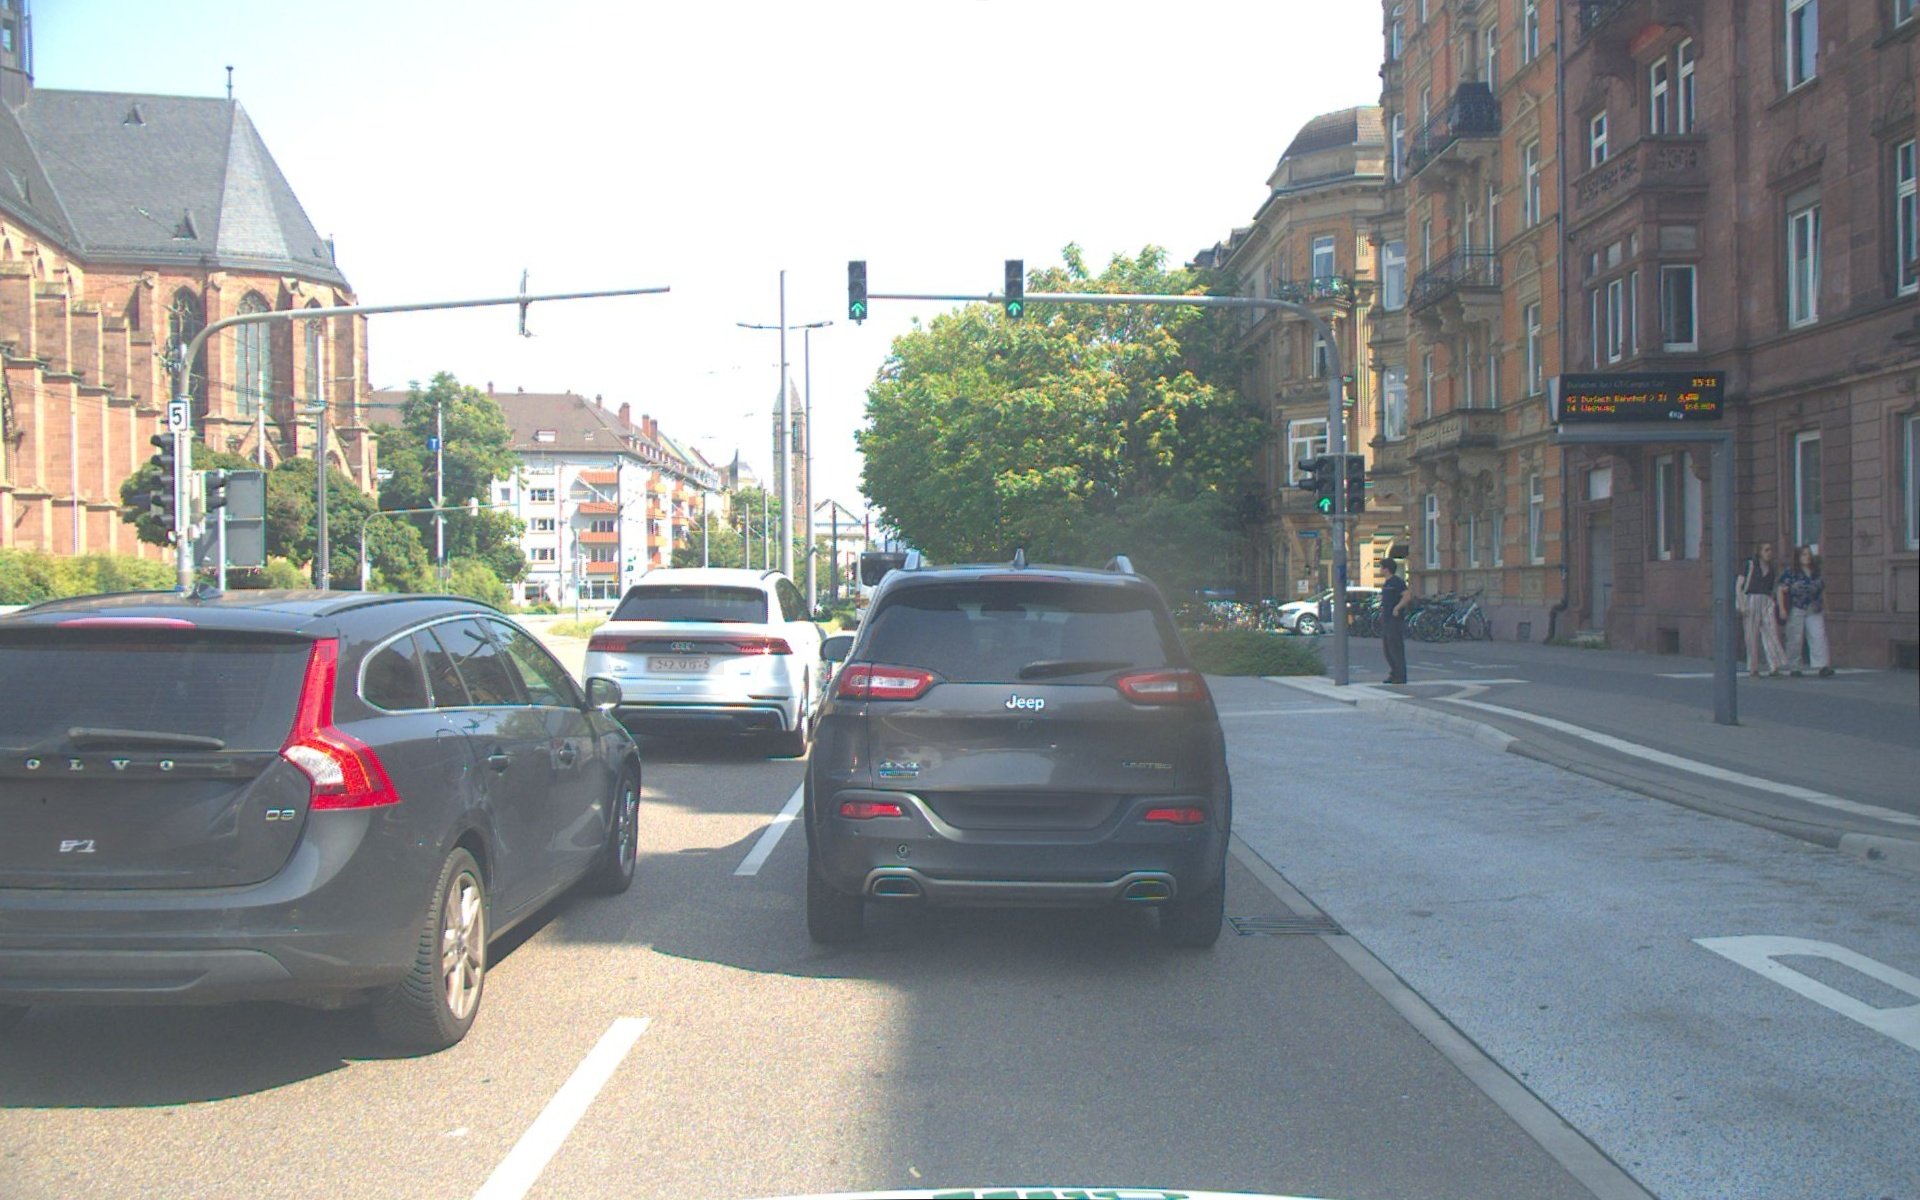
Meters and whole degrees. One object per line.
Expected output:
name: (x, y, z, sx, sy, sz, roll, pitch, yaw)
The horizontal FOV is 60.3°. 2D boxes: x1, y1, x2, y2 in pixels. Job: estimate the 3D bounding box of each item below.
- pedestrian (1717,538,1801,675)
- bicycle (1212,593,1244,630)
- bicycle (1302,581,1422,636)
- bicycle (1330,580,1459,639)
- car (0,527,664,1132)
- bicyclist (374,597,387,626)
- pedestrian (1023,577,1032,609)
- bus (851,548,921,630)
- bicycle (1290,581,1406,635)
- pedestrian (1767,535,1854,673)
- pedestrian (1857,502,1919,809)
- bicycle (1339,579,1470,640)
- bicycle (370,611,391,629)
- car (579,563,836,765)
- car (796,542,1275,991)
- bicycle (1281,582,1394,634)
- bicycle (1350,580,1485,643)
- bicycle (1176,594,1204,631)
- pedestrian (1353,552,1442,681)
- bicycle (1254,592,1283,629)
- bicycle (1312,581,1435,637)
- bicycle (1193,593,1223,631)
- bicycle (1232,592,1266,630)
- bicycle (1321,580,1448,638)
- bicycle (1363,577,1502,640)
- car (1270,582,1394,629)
pedestrian: (10.772, 0.080, 22.326, 0.700, 1.807, 0.847, -1, 0, -2)
bicycle: (9.461, 0.394, 58.585, 0.717, 1.275, 3.014, -1, 0, 2)
bicycle: (10.670, 0.222, 43.972, 2.943, 1.397, 0.947, -1, 0, -2)
bicycle: (10.739, 0.222, 40.924, 2.933, 1.395, 0.871, -1, 0, -2)
car: (-2.421, 0.610, 6.659, 1.712, 1.642, 4.308, 1, 0, -1)
bicyclist: (-27.998, 0.555, 79.933, 0.439, 1.344, 0.425, -1, 0, 0)
pedestrian: (4.356, -0.448, 106.343, 0.518, 2.049, 0.532, -1, 0, -3)
bus: (-3.140, -0.426, 70.936, 2.688, 3.161, 11.950, 1, 0, -2)
bicycle: (10.614, 0.218, 45.288, 2.943, 1.397, 0.947, -1, 0, -2)
pedestrian: (11.490, 0.050, 22.369, 0.700, 1.809, 0.870, -1, 0, -2)
pedestrian: (6.046, 0.328, 9.741, 0.943, 1.771, 1.240, 0, -2, 9)
bicycle: (10.729, 0.227, 39.976, 2.933, 1.395, 0.871, -1, 0, -2)
bicycle: (-27.996, 0.958, 79.919, 0.444, 0.874, 1.476, -1, 0, 1)
car: (-2.271, 0.514, 15.992, 1.863, 1.680, 4.308, 0, 0, -1)
car: (0.302, 0.615, 8.415, 1.795, 1.680, 4.308, 1, 0, 0)
bicycle: (10.560, 0.221, 46.329, 2.943, 1.397, 0.947, -1, 0, -2)
bicycle: (10.781, 0.265, 39.064, 2.933, 1.395, 0.871, -1, 0, -2)
bicycle: (8.128, 0.418, 58.591, 0.636, 1.275, 3.014, -1, 0, 1)
pedestrian: (6.201, 0.227, 23.461, 0.759, 1.771, 0.891, -2, 0, -33)
bicycle: (11.016, 0.364, 59.057, 0.644, 1.271, 2.413, -1, 0, 2)
bicycle: (10.723, 0.224, 42.962, 2.943, 1.397, 0.947, -1, 0, -2)
bicycle: (8.776, 0.404, 58.576, 0.636, 1.275, 3.014, -1, 0, 1)
bicycle: (10.234, 0.380, 58.611, 0.747, 1.275, 3.014, -1, 0, 2)
bicycle: (10.726, 0.227, 41.867, 2.943, 1.397, 0.947, -1, 0, -2)
bicycle: (10.885, 0.190, 38.159, 2.933, 1.395, 0.871, -1, 0, -2)
car: (12.947, 0.190, 57.670, 3.858, 1.547, 1.680, -1, 0, -8)
